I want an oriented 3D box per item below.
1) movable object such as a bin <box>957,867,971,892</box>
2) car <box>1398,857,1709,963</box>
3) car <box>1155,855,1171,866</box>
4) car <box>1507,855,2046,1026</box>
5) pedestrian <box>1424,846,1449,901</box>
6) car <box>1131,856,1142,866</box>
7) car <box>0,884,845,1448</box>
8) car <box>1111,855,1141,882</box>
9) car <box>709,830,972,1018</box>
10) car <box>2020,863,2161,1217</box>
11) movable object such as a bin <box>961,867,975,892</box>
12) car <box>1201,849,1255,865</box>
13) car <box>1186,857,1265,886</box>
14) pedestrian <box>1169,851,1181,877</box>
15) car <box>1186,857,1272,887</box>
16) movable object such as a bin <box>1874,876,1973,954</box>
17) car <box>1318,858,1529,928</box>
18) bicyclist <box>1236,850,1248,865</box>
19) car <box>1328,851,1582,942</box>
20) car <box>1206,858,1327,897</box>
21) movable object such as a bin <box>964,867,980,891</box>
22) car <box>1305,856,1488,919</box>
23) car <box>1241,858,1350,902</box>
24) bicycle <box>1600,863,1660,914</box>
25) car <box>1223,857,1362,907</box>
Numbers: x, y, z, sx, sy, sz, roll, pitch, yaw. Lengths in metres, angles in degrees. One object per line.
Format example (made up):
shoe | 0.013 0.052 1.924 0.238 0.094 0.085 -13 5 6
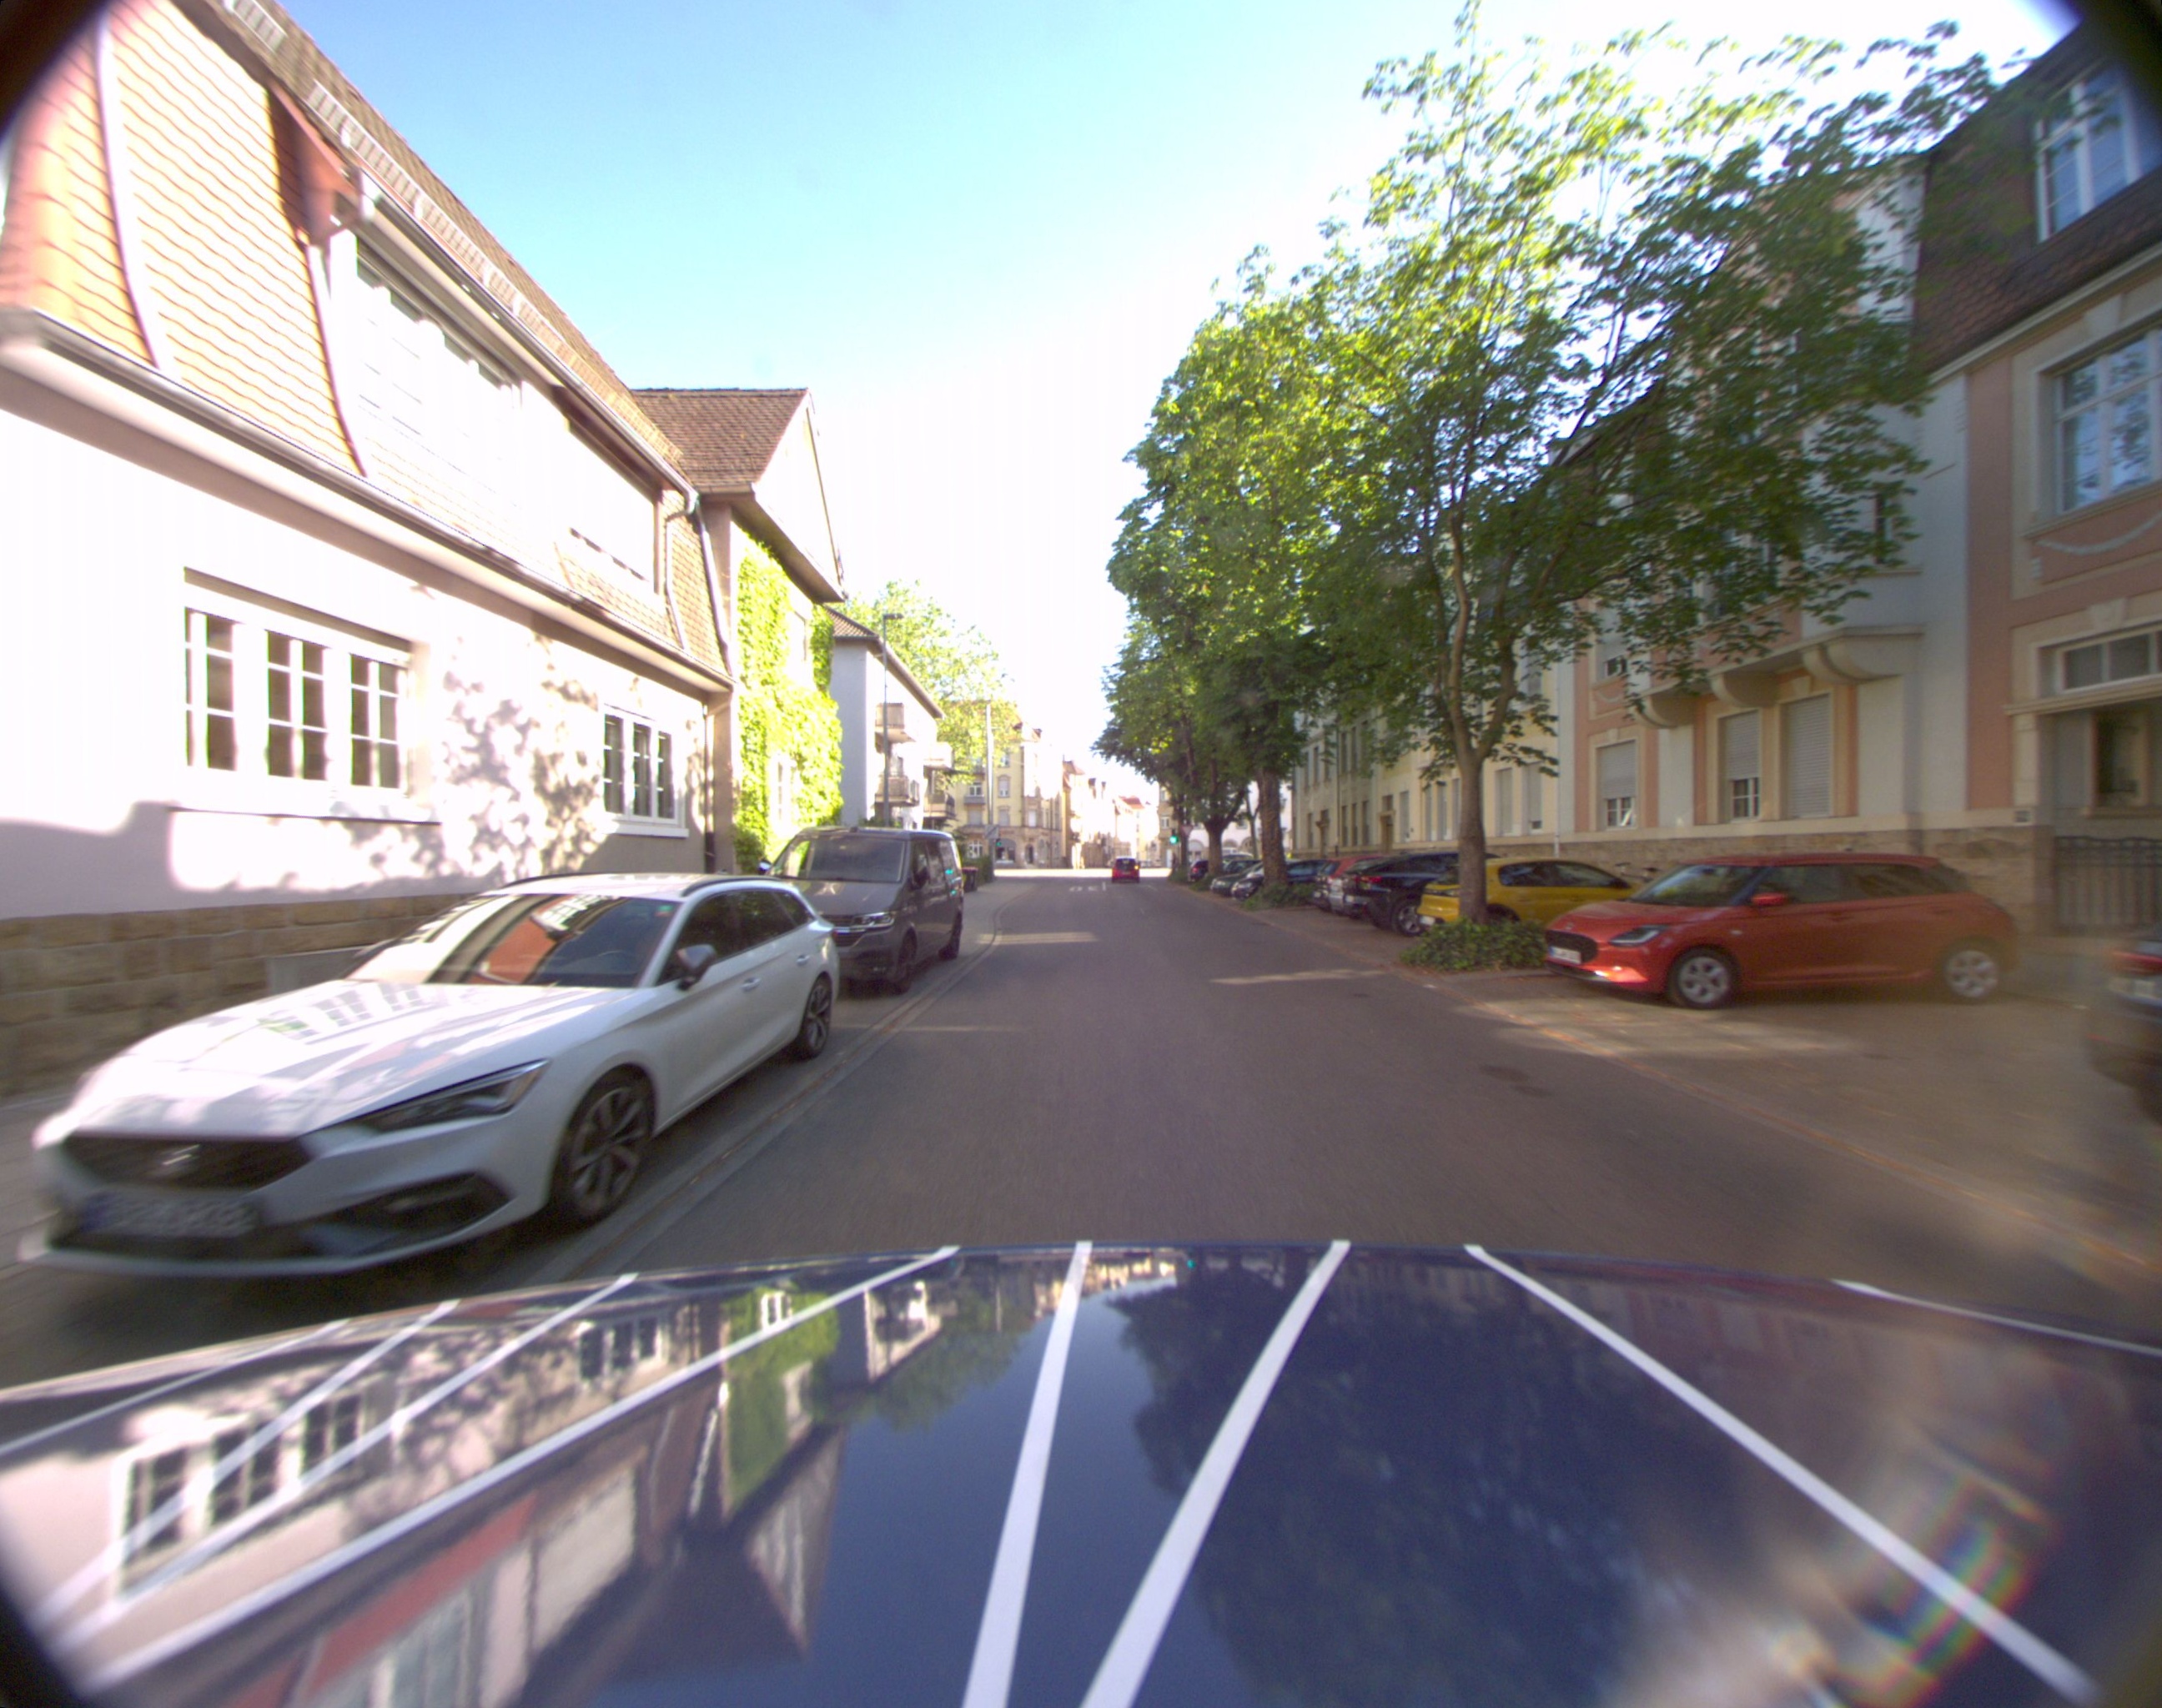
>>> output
movable object such as a bin | -5.007 1.101 32.569 0.484 1.038 0.618 3 1 -1
car | 7.359 0.841 12.166 3.799 1.453 1.863 -2 0 3
car | 13.871 1.141 128.007 1.915 1.649 4.351 -4 -1 14
car | 6.962 0.812 7.959 3.996 1.506 1.747 -1 1 1
pedestrian | 10.834 0.571 23.180 0.460 1.648 0.895 0 1 10
car | 9.031 1.137 123.936 1.664 1.455 3.809 0 0 2
car | -2.865 0.983 4.395 1.683 1.449 4.438 0 0 -1
car | 2.681 0.849 45.984 1.645 1.499 3.702 1 0 1
car | -2.843 0.725 10.274 1.869 1.905 4.783 1 0 2
car | 6.879 0.805 2.996 3.997 1.583 1.859 -2 0 1
movable object such as a bin | -4.954 1.106 33.427 0.484 1.038 0.656 3 1 -1
car | 12.714 0.289 65.912 4.218 1.346 1.862 0 0 -14
car | 7.594 0.933 40.266 3.892 1.467 1.615 0 1 1
pedestrian | 5.989 0.626 48.188 0.695 1.672 0.681 0 1 12
car | 7.276 0.864 37.548 3.893 1.407 1.614 -1 0 -5
movable object such as a bin | 11.670 0.832 10.544 0.689 1.029 0.614 -1 0 1
car | 7.683 0.854 17.355 3.996 1.395 1.830 -2 0 3
bicyclist | 16.636 0.320 78.542 1.074 1.533 0.687 0 0 1
car | 7.085 0.777 14.733 3.996 1.557 1.863 -2 1 3
car | 7.075 0.903 29.252 4.222 1.341 1.703 -1 1 1
movable object such as a bin | -4.908 1.125 34.254 0.598 1.038 0.707 3 1 -1
car | 7.977 0.811 19.495 3.996 1.499 1.722 0 1 3
car | 7.580 0.912 27.087 3.441 1.444 1.703 -1 1 4
bicycle | 12.048 0.741 16.702 0.433 1.059 1.255 0 0 2
car | 6.722 0.873 24.498 3.996 1.474 1.785 -1 1 3
